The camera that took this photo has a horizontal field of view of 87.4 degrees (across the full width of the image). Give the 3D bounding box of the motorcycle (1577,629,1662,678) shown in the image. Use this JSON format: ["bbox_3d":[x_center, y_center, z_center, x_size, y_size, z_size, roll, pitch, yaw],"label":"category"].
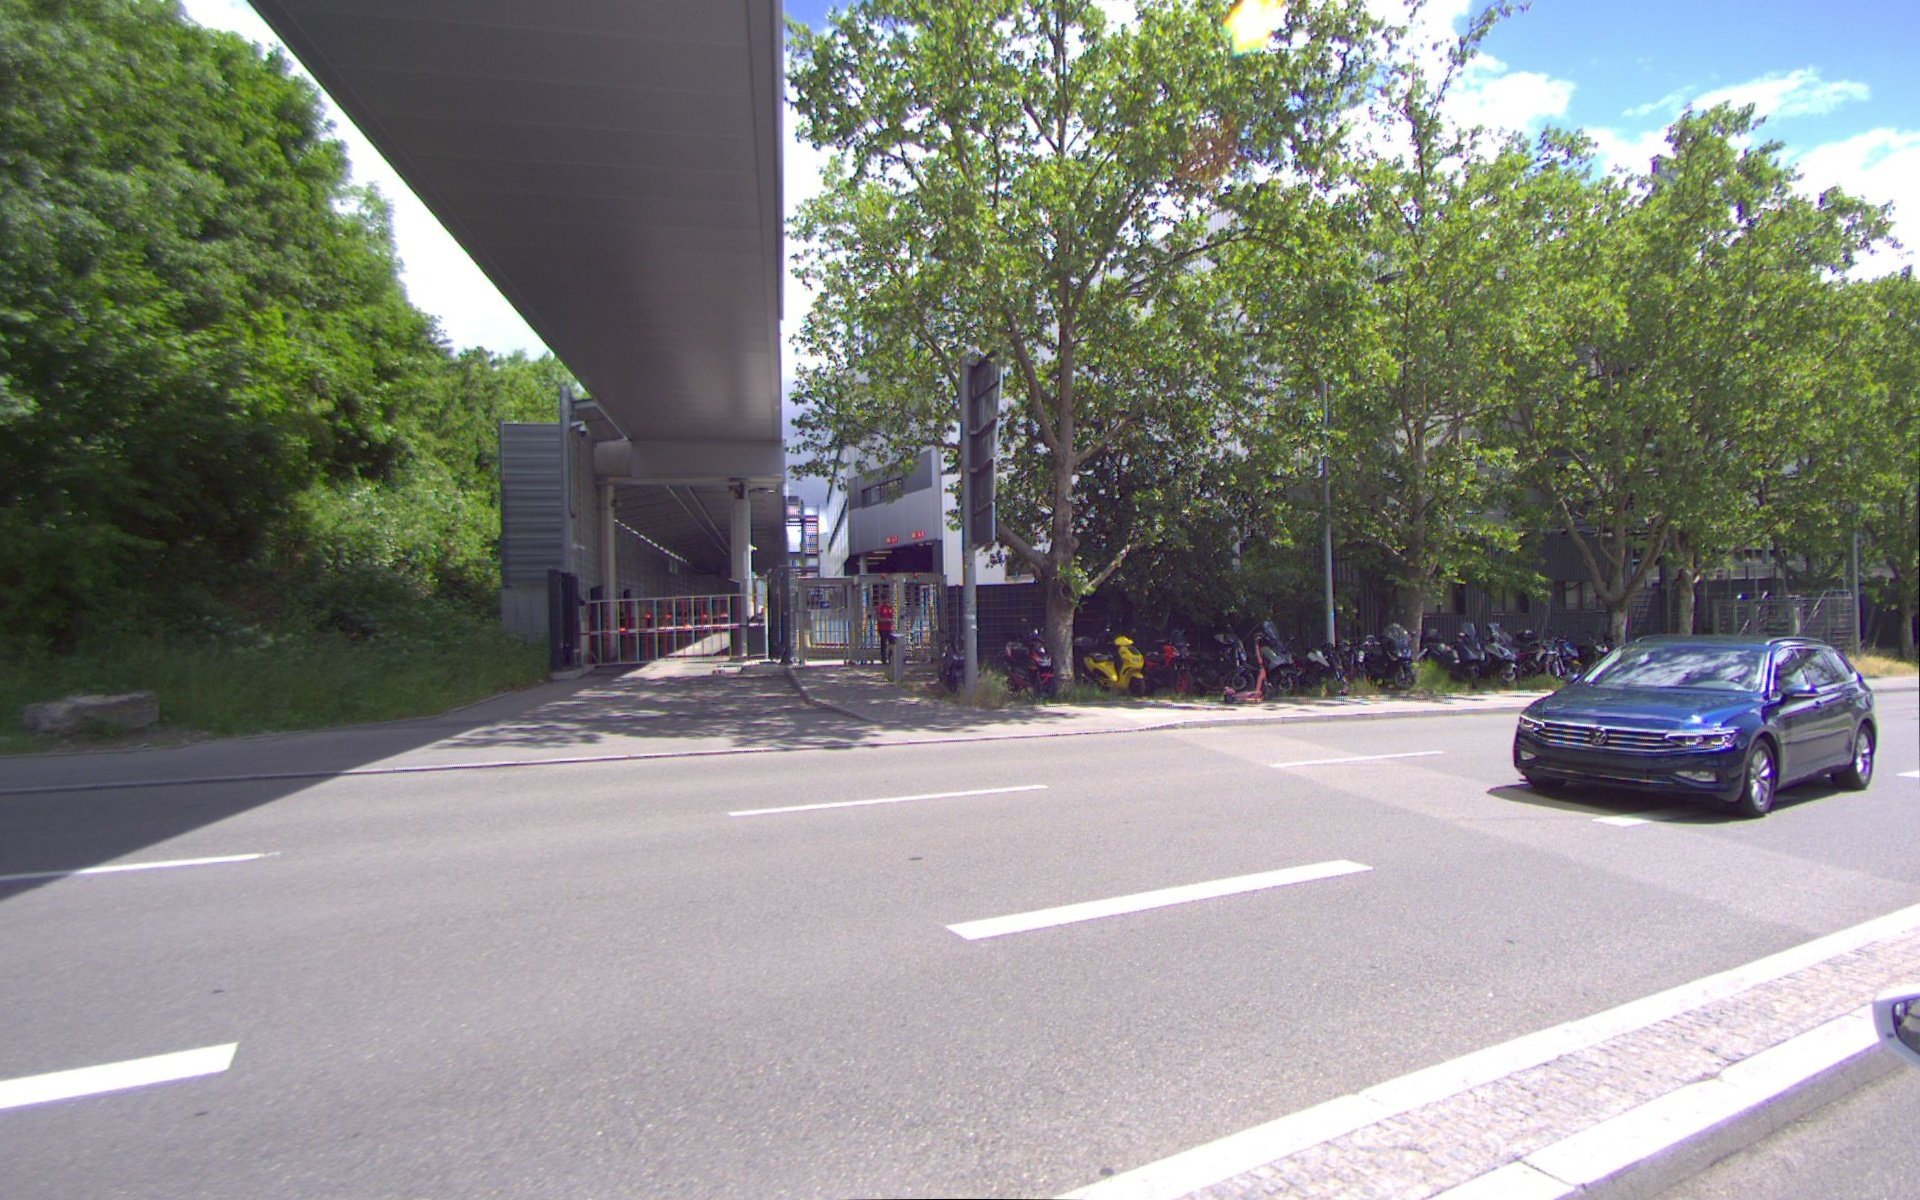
[{"bbox_3d":[18.181,1.451,27.737,0.719,1.202,1.875,0,1,-20],"label":"motorcycle"}]

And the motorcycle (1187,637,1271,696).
[{"bbox_3d":[5.386,1.314,20.210,0.766,1.047,1.584,-1,1,-28],"label":"motorcycle"}]

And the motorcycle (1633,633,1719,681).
[{"bbox_3d":[20.122,1.587,28.280,0.734,1.189,1.875,0,1,-19],"label":"motorcycle"}]

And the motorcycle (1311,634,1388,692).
[{"bbox_3d":[8.673,1.389,22.454,0.903,1.131,1.937,0,1,-2],"label":"motorcycle"}]

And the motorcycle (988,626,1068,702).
[{"bbox_3d":[1.187,1.103,17.882,0.764,1.187,1.739,0,1,-21],"label":"motorcycle"}]

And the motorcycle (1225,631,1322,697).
[{"bbox_3d":[6.406,1.284,20.588,0.846,1.195,1.731,-1,2,-40],"label":"motorcycle"}]

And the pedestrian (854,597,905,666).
[{"bbox_3d":[-2.067,0.799,25.862,0.880,1.724,0.971,2,-1,-44],"label":"pedestrian"}]

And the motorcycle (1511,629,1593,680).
[{"bbox_3d":[15.951,1.440,27.108,0.646,1.226,1.872,0,1,-25],"label":"motorcycle"}]

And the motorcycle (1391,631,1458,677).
[{"bbox_3d":[13.368,1.544,28.906,1.956,1.226,0.651,0,2,-25],"label":"motorcycle"}]

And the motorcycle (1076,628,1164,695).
[{"bbox_3d":[3.035,1.140,19.164,0.769,1.138,1.578,-1,2,-38],"label":"motorcycle"}]

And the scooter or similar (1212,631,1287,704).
[{"bbox_3d":[5.190,1.199,17.982,1.462,1.252,0.352,2,0,-30],"label":"scooter or similar"}]

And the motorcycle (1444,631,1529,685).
[{"bbox_3d":[12.973,1.407,24.802,0.801,1.195,1.878,0,1,-14],"label":"motorcycle"}]

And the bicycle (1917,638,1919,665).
[{"bbox_3d":[38.349,2.022,38.819,0.417,1.089,1.914,1,-1,-30],"label":"bicycle"}]

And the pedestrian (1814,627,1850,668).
[{"bbox_3d":[33.708,1.827,38.819,0.808,1.572,0.753,1,-1,-20],"label":"pedestrian"}]

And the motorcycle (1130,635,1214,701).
[{"bbox_3d":[4.113,1.299,19.614,0.766,1.138,1.584,-1,2,-28],"label":"motorcycle"}]

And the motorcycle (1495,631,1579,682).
[{"bbox_3d":[15.172,1.458,26.461,0.689,1.195,1.872,0,1,-25],"label":"motorcycle"}]

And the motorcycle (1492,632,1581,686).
[{"bbox_3d":[14.469,1.464,25.268,0.802,1.195,1.875,0,1,-20],"label":"motorcycle"}]

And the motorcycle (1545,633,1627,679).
[{"bbox_3d":[17.031,1.504,27.384,0.780,1.099,1.878,0,1,-14],"label":"motorcycle"}]

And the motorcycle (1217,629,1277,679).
[{"bbox_3d":[7.312,1.361,25.711,0.903,1.131,1.937,0,1,-2],"label":"motorcycle"}]

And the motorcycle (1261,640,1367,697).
[{"bbox_3d":[7.426,1.438,21.134,0.914,1.130,1.916,3,-4,-40],"label":"motorcycle"}]

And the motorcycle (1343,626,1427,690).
[{"bbox_3d":[9.700,1.299,23.016,0.876,1.308,1.935,0,1,-8],"label":"motorcycle"}]

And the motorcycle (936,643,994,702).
[{"bbox_3d":[0.069,1.258,17.888,0.762,0.880,1.745,0,1,-9],"label":"motorcycle"}]

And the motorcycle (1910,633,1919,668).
[{"bbox_3d":[37.010,1.914,37.483,0.797,1.326,2.123,1,-1,-30],"label":"motorcycle"}]

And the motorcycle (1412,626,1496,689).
[{"bbox_3d":[11.824,1.340,24.139,0.849,1.362,1.935,0,1,-8],"label":"motorcycle"}]

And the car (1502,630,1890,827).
[{"bbox_3d":[7.151,1.038,9.606,4.435,1.472,1.698,1,-1,-35],"label":"car"}]
